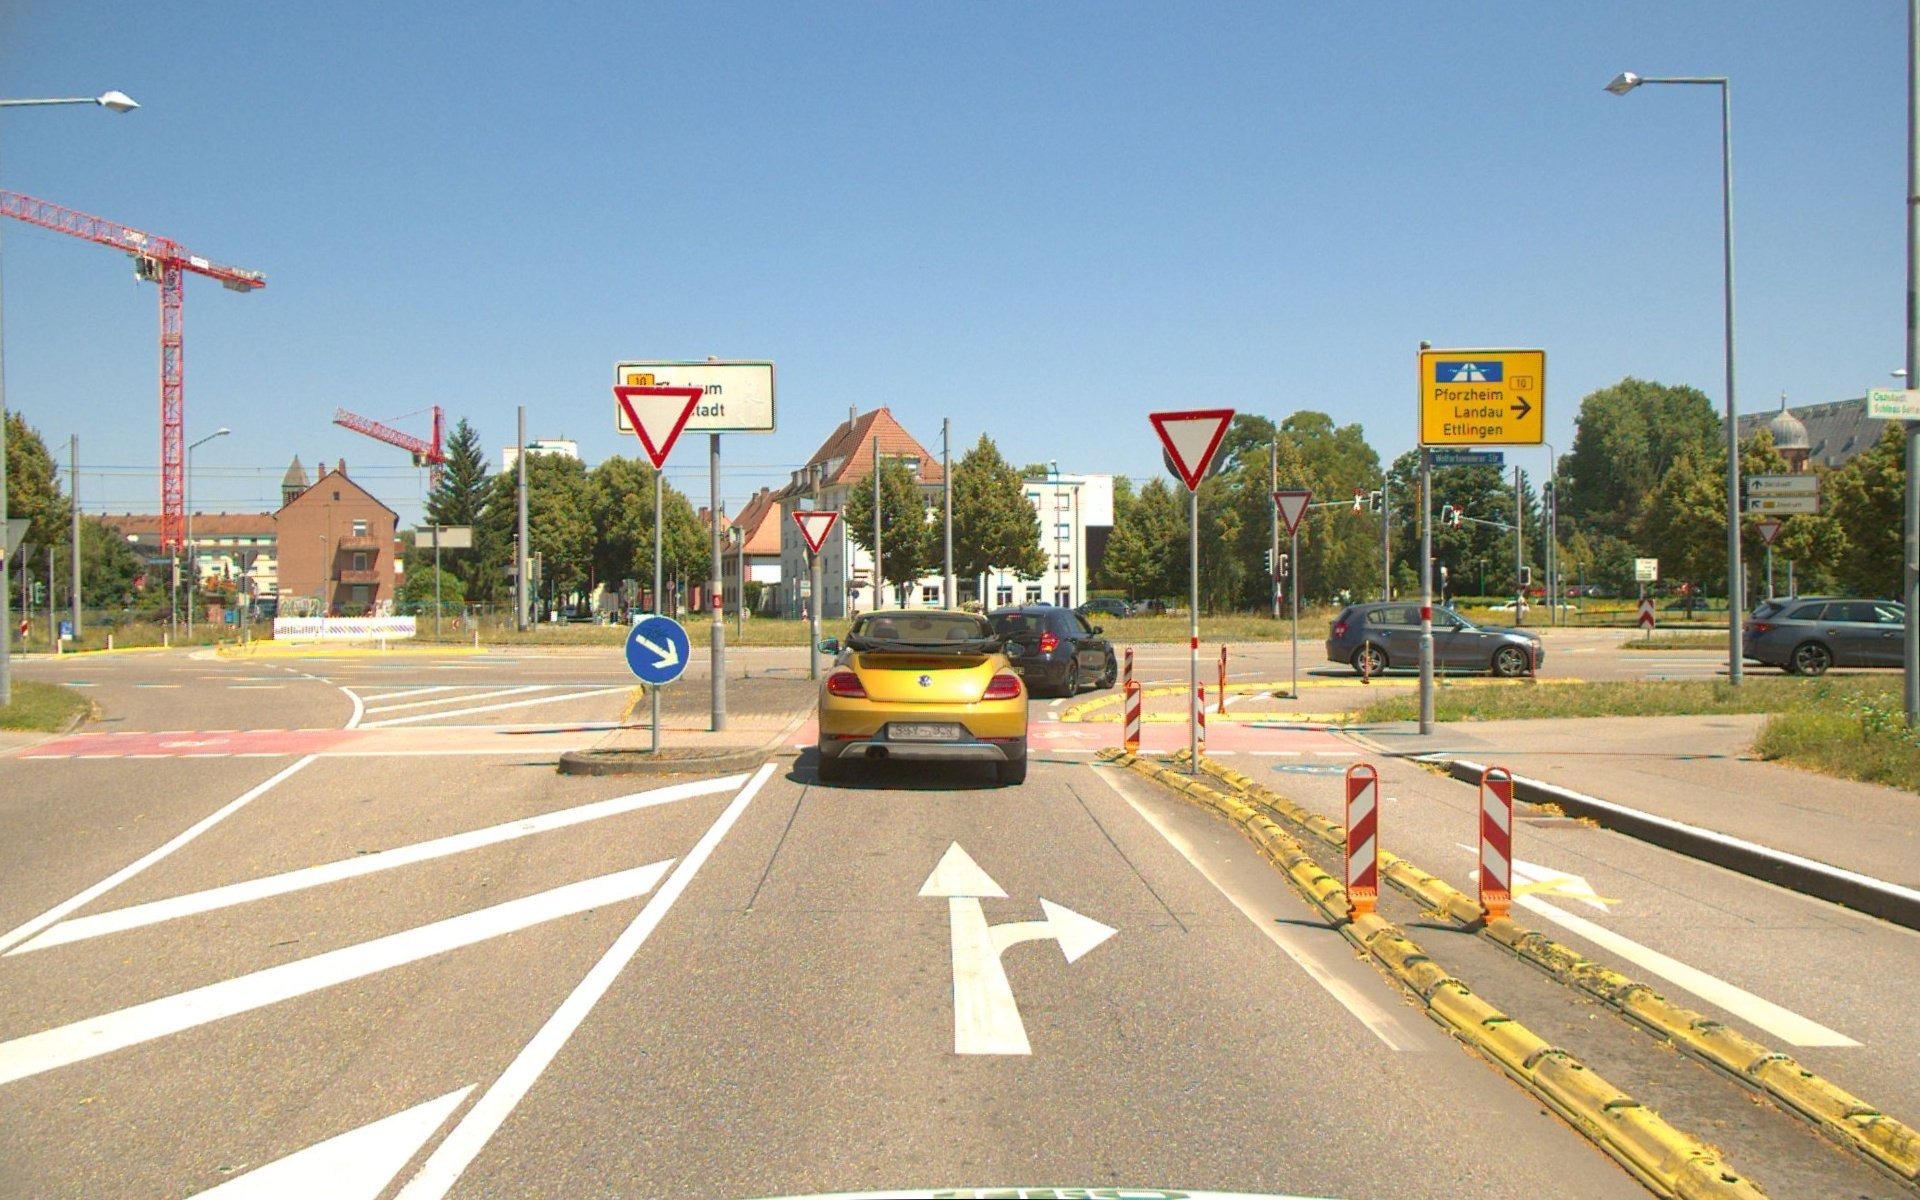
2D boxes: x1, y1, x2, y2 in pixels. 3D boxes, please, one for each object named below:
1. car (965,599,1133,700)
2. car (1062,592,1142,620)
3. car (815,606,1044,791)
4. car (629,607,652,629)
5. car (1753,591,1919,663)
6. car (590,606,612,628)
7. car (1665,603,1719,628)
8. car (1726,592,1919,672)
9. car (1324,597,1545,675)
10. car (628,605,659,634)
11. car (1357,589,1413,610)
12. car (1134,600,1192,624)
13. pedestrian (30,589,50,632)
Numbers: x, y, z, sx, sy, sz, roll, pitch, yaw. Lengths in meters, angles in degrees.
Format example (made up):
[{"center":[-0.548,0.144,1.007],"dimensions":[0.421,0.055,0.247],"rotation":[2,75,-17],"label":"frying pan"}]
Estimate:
[{"center":[1.541,0.753,27.222],"dimensions":[1.759,1.465,4.002],"rotation":[0,1,19],"label":"car"},{"center":[7.720,0.330,89.964],"dimensions":[3.908,1.490,1.998],"rotation":[0,-1,26],"label":"car"},{"center":[-0.267,0.781,14.833],"dimensions":[1.788,1.427,3.661],"rotation":[0,0,-1],"label":"car"},{"center":[-30.321,1.707,157.109],"dimensions":[1.959,2.049,3.986],"rotation":[1,-1,-14],"label":"car"},{"center":[19.008,0.559,34.772],"dimensions":[3.902,1.447,1.783],"rotation":[-1,0,14],"label":"car"},{"center":[-34.550,1.672,159.143],"dimensions":[1.959,2.049,3.986],"rotation":[1,-1,-14],"label":"car"},{"center":[63.706,1.336,143.970],"dimensions":[3.923,2.049,1.991],"rotation":[0,-1,38],"label":"car"},{"center":[16.980,0.585,31.187],"dimensions":[4.347,1.443,2.001],"rotation":[-1,0,17],"label":"car"},{"center":[9.196,0.694,32.359],"dimensions":[3.980,1.427,1.755],"rotation":[-1,1,10],"label":"car"},{"center":[-22.804,1.376,119.134],"dimensions":[1.959,2.049,3.986],"rotation":[1,-1,-14],"label":"car"},{"center":[34.195,-0.062,133.166],"dimensions":[3.919,1.601,1.993],"rotation":[0,-1,35],"label":"car"},{"center":[15.422,0.913,125.533],"dimensions":[3.918,1.713,1.993],"rotation":[1,-1,-14],"label":"car"},{"center":[-44.339,0.519,79.755],"dimensions":[0.589,2.049,0.594],"rotation":[1,-1,-1],"label":"pedestrian"}]
